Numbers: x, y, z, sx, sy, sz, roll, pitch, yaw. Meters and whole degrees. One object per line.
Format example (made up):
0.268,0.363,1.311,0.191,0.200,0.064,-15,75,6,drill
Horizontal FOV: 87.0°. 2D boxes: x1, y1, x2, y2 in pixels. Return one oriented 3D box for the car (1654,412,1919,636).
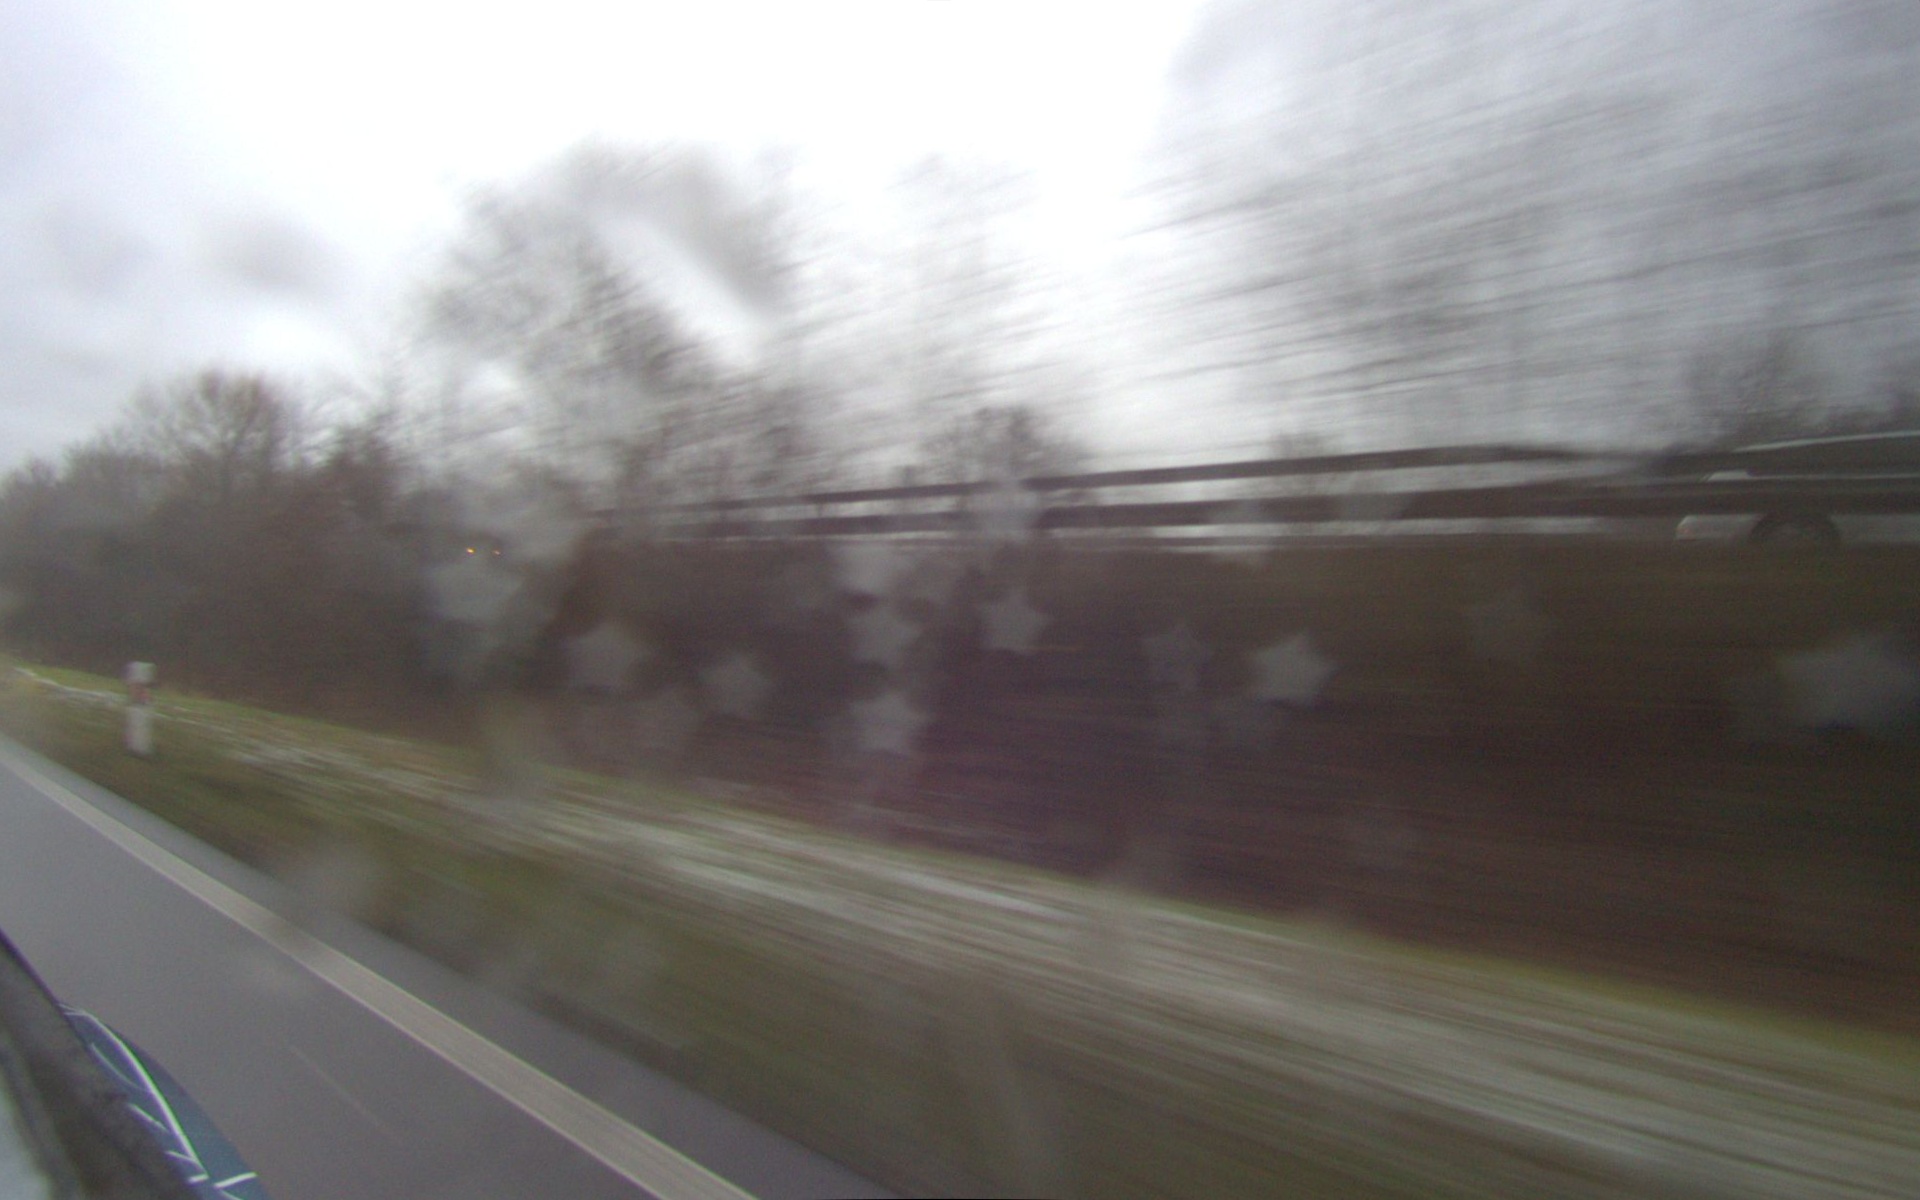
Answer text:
9.690,-0.752,9.630,1.972,2.027,4.756,-7,8,-45,car
